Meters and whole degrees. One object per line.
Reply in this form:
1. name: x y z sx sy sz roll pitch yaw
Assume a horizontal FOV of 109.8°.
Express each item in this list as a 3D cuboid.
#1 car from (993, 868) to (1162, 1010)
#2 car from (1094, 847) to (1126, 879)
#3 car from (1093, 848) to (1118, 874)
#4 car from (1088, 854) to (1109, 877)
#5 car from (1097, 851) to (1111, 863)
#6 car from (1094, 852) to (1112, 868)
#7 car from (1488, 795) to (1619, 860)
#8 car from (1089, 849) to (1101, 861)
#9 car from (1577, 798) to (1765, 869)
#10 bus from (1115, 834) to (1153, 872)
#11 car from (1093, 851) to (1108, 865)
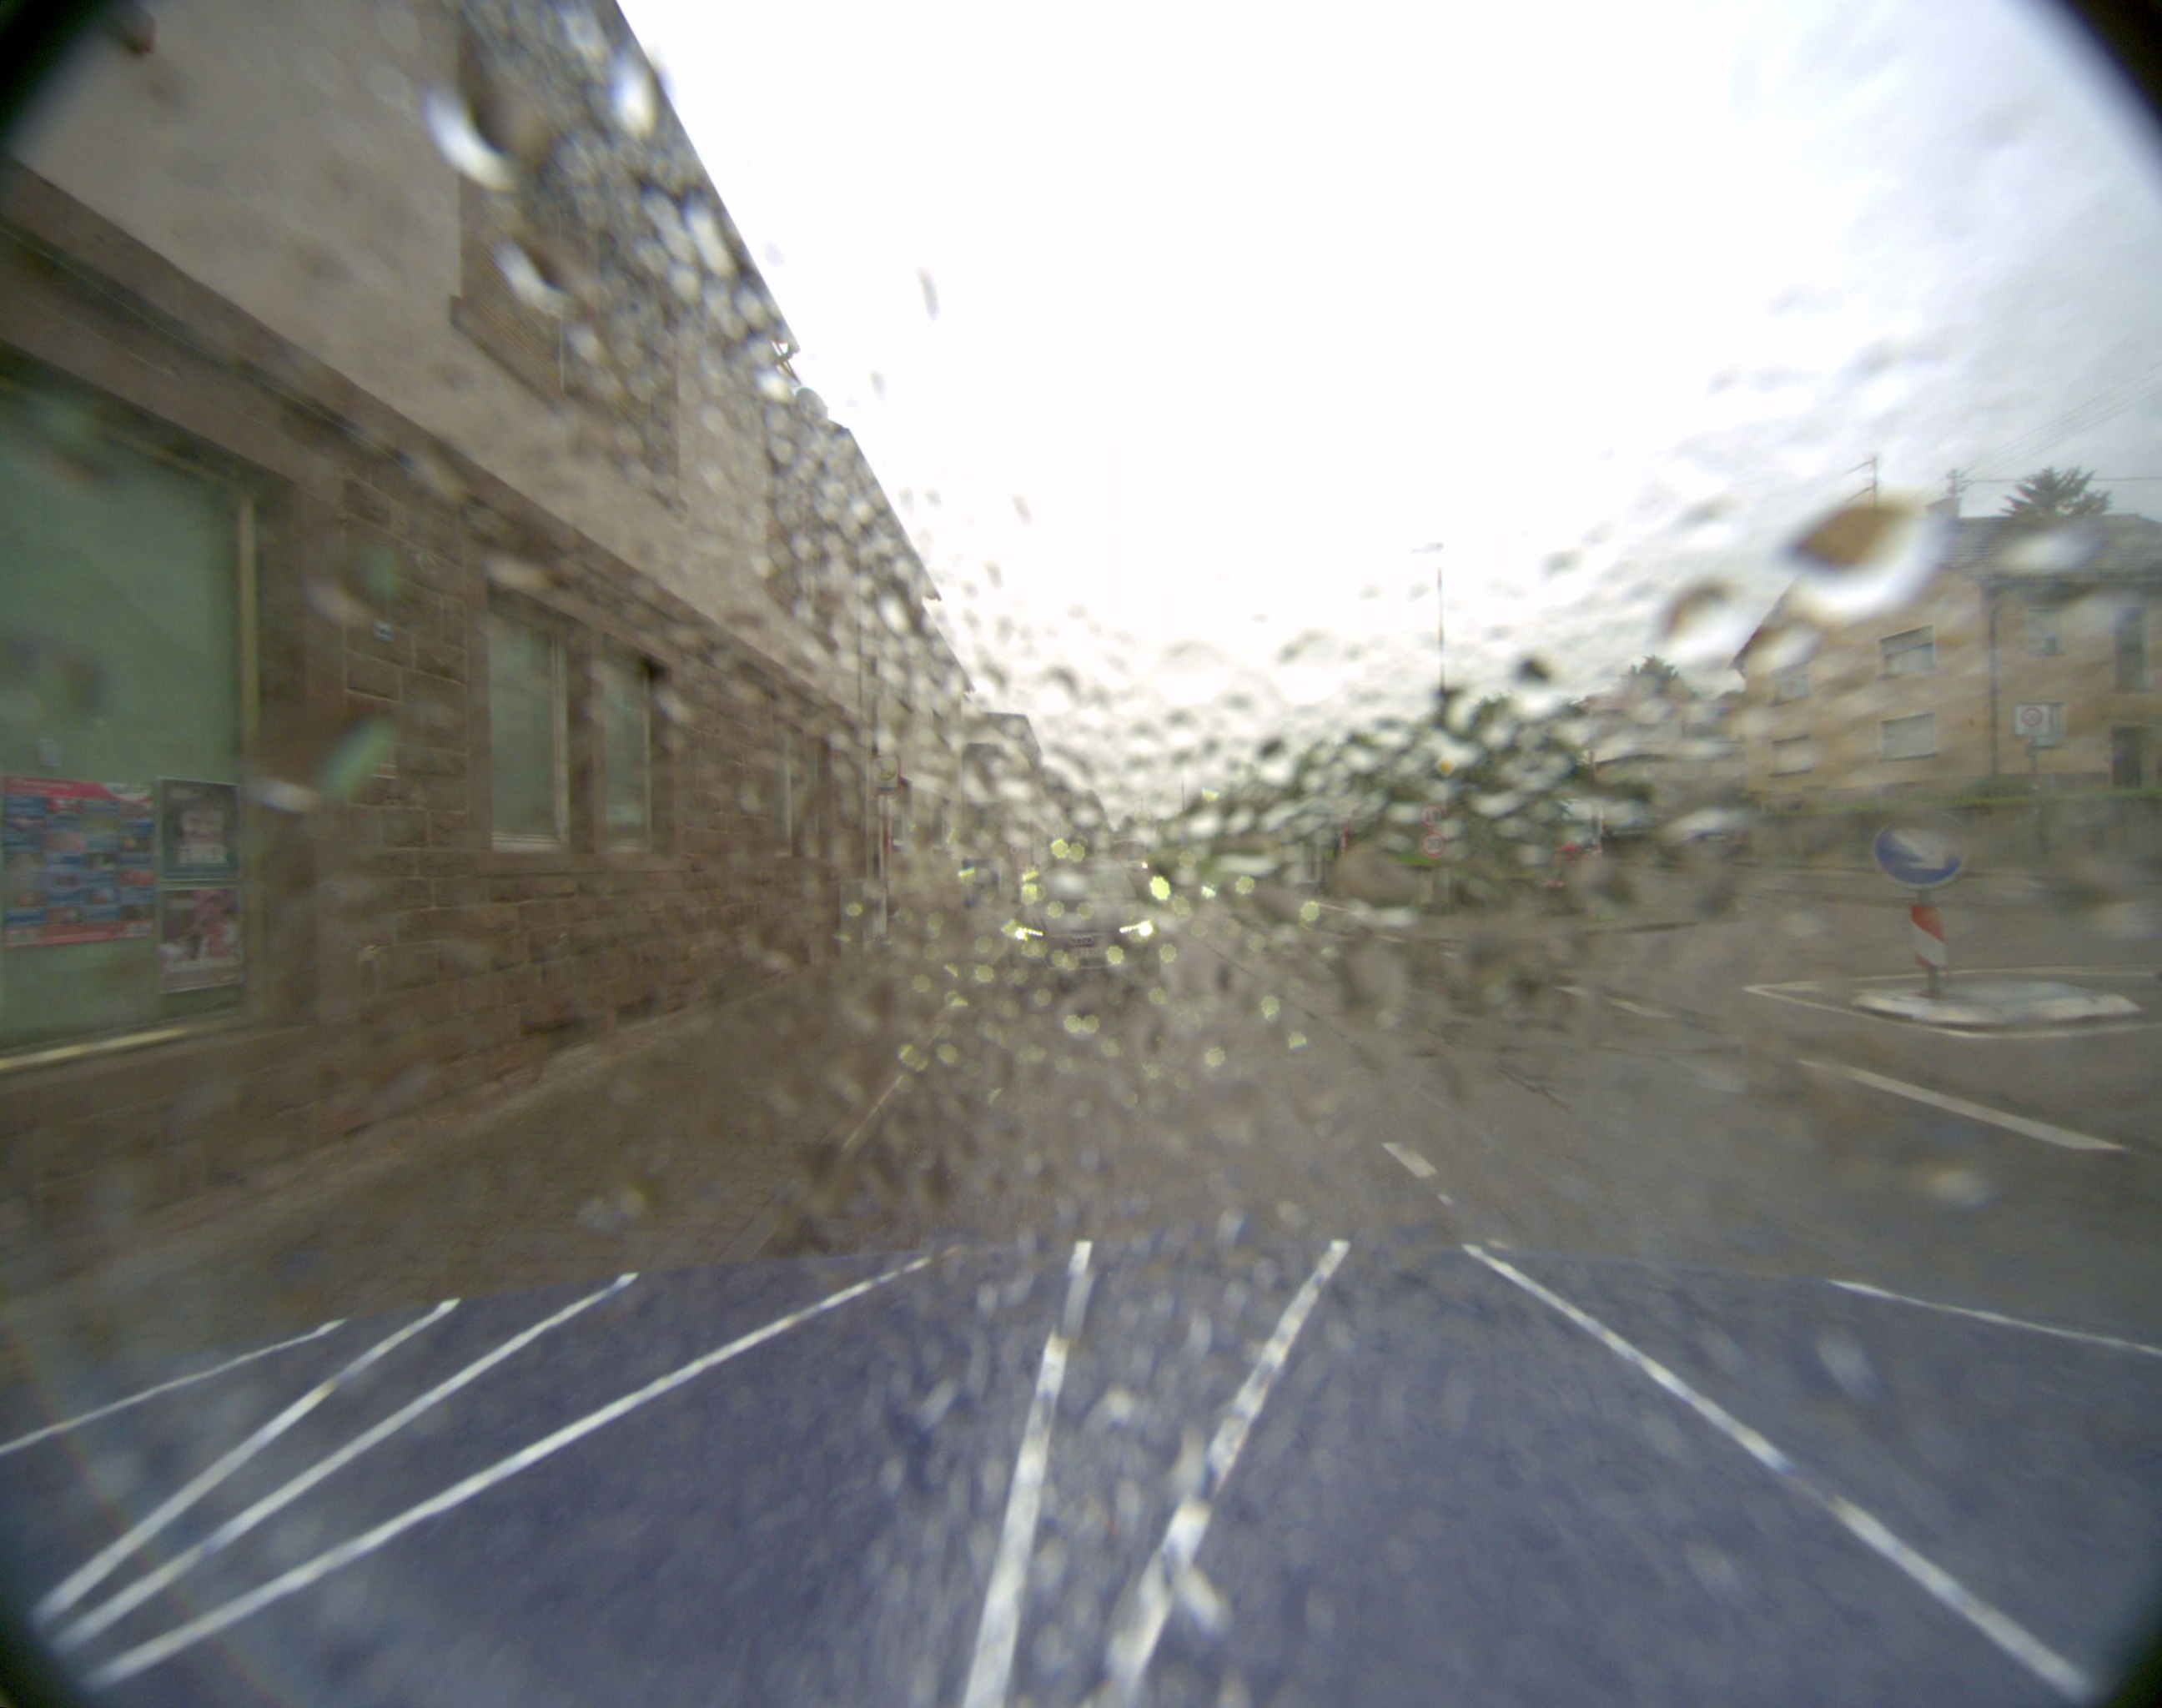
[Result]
1. car: -0.008 0.961 10.339 1.780 1.348 4.188 -2 1 1
2. car: 1.743 0.510 46.246 1.780 1.787 4.188 -2 1 1
3. car: 1.823 0.506 58.435 1.780 1.787 4.188 -2 1 1
4. car: 1.521 0.983 66.696 1.780 1.787 4.188 -2 1 1
5. car: 3.069 0.381 103.386 1.780 1.602 4.188 -2 1 1
6. car: 2.375 0.623 83.487 1.780 1.602 4.188 -2 1 1
7. car: 16.531 -0.890 26.866 1.998 2.051 4.188 -2 1 1
8. car: 2.078 0.155 112.365 1.780 1.602 4.188 -2 1 1
9. car: 16.194 -0.530 21.194 1.998 1.705 4.188 -2 1 1
10. bus: 5.242 -0.129 76.785 3.440 3.392 13.873 -1 0 3
11. car: 2.371 0.520 93.272 1.780 1.602 4.188 -2 1 1
